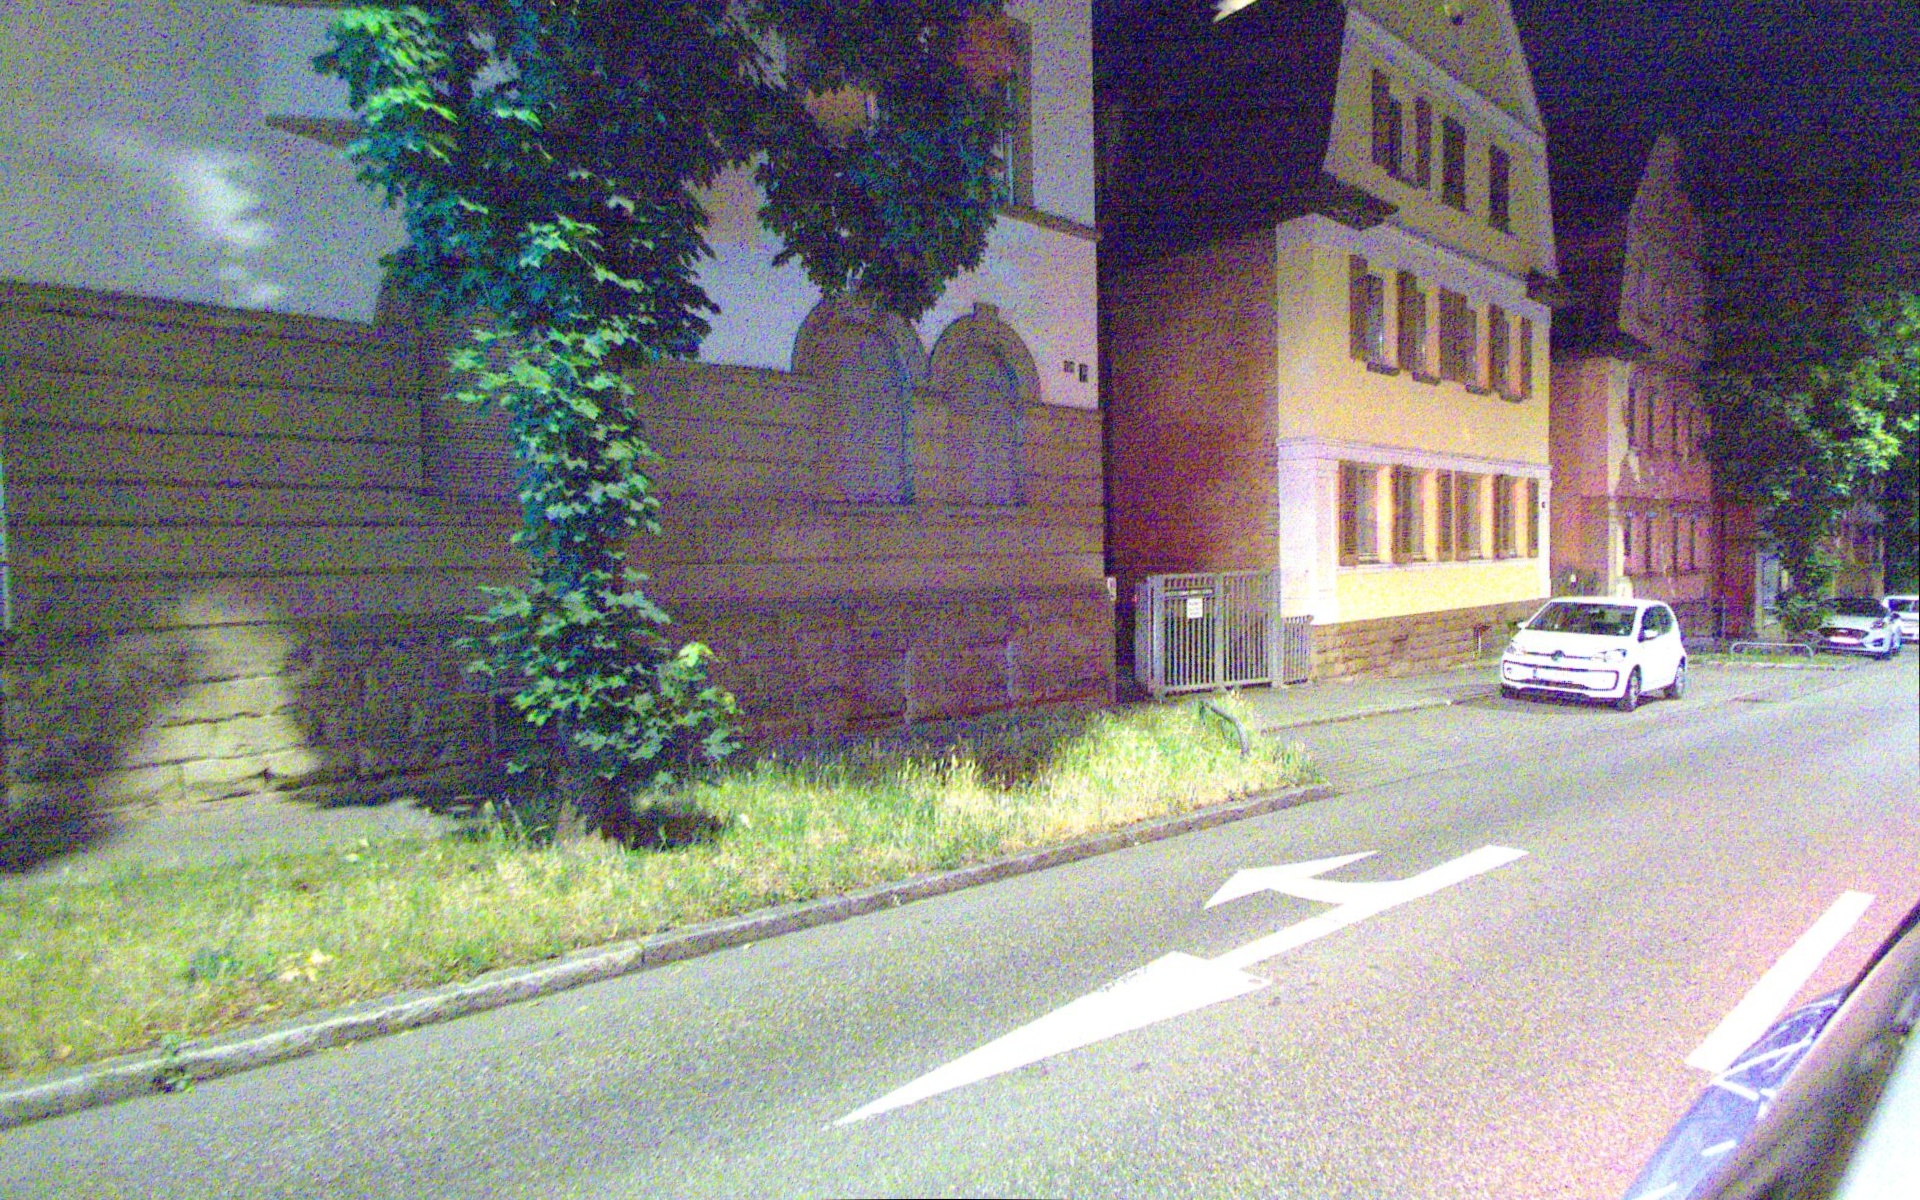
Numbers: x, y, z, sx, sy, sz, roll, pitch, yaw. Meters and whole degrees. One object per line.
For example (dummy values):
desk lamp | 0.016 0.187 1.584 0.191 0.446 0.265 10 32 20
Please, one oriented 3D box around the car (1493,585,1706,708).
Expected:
car | 9.328 0.577 14.662 3.541 1.503 1.671 0 2 -42

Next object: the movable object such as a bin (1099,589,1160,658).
movable object such as a bin | 2.670 0.357 15.923 0.742 1.062 0.608 0 0 -41

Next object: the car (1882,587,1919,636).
car | 33.793 0.390 35.355 4.281 1.616 1.742 0 3 -40

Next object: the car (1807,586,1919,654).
car | 23.811 0.471 26.585 3.977 1.572 1.862 0 3 -43

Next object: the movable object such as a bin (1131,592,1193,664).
movable object such as a bin | 3.079 0.410 15.438 0.742 1.062 0.608 0 0 -41
